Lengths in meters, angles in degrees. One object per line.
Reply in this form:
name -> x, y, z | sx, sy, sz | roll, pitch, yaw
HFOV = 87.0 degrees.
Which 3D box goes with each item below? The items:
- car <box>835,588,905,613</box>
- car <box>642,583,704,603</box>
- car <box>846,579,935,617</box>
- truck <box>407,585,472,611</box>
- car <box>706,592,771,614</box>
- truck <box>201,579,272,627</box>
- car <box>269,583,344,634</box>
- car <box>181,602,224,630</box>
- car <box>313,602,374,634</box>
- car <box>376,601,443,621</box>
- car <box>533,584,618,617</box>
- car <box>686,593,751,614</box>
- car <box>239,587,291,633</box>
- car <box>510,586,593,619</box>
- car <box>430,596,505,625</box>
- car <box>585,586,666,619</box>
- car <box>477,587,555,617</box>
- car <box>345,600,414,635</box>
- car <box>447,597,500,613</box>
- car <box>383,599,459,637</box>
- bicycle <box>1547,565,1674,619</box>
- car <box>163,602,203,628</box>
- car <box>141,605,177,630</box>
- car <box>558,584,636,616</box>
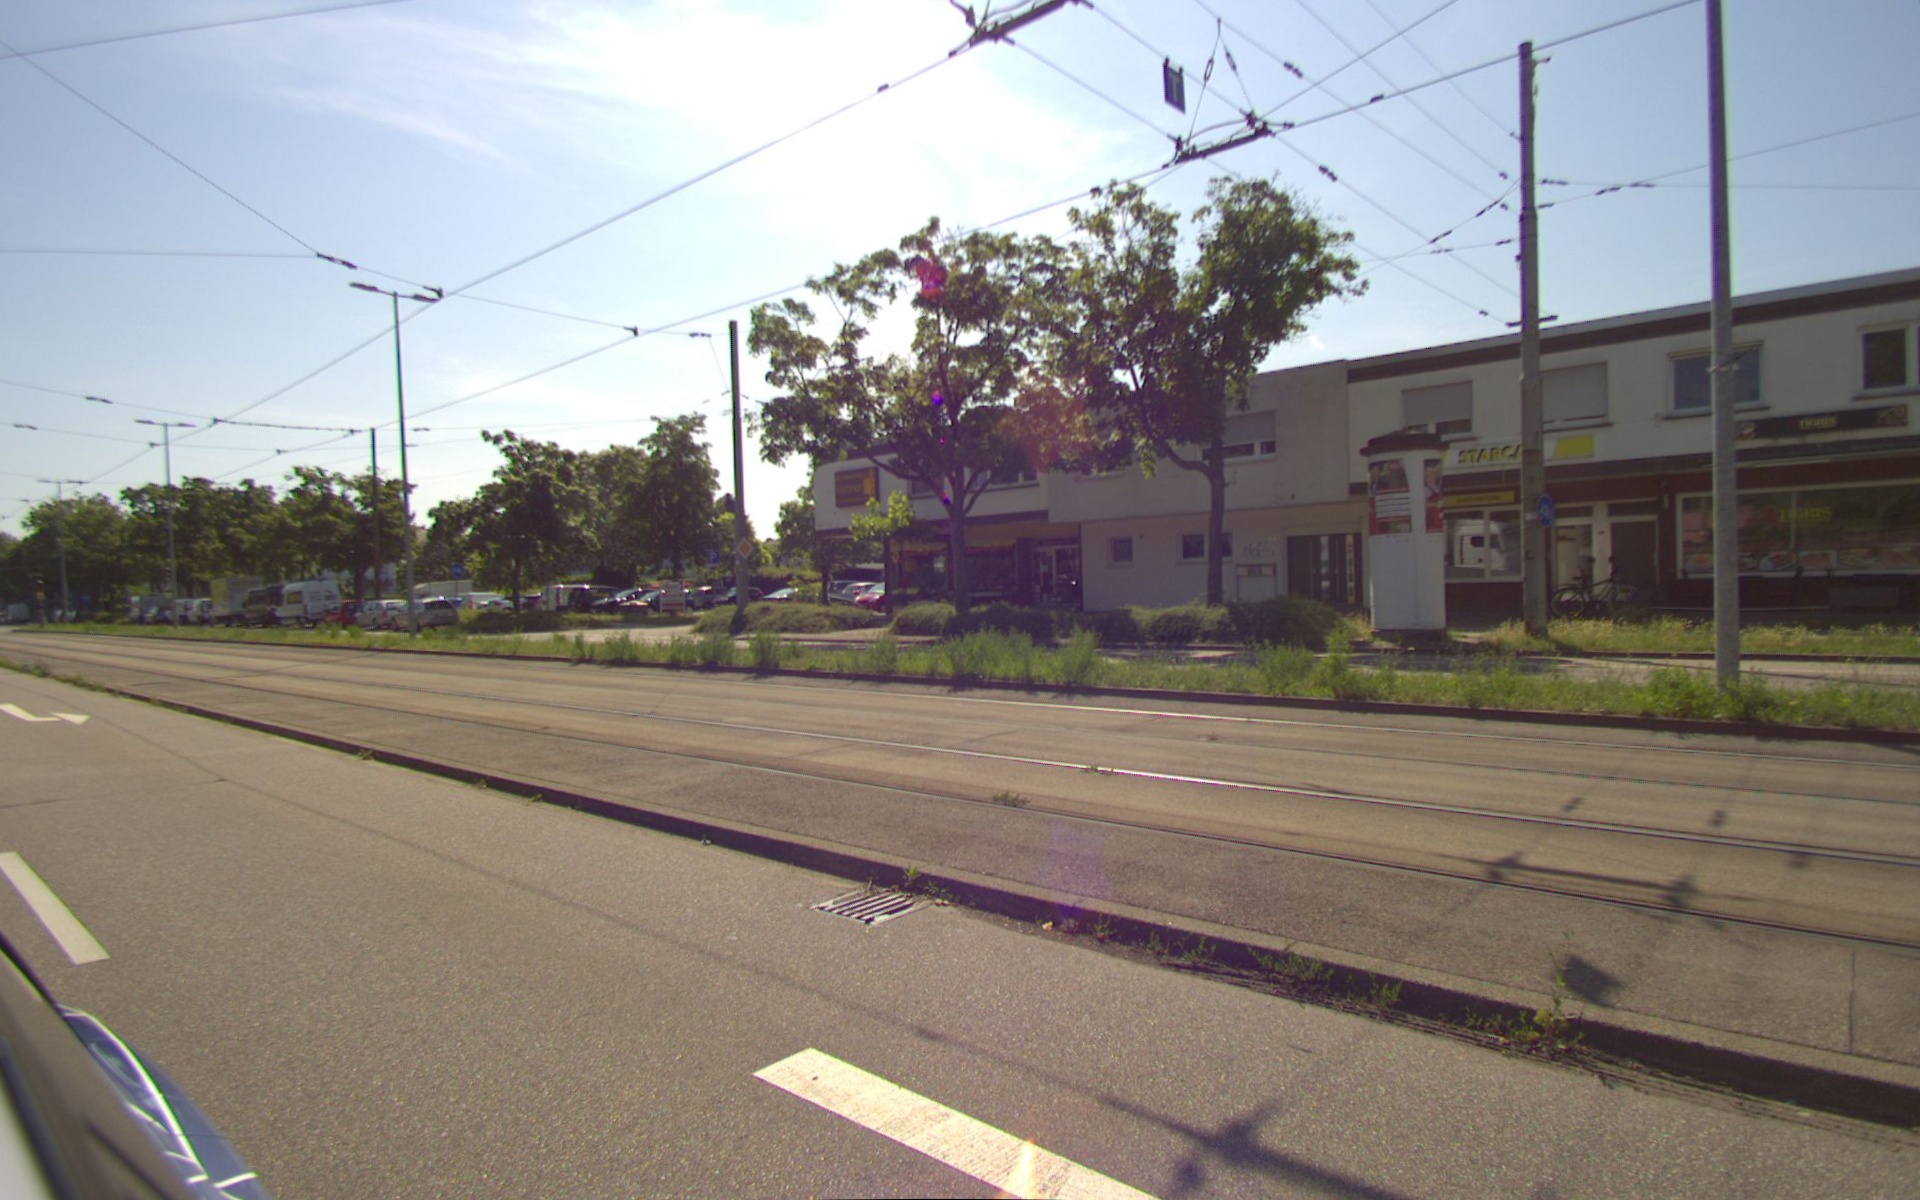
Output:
car -> -5.466, 0.028, 61.730 | 1.676, 1.345, 4.197 | -1, 1, 42
car -> -21.183, -0.534, 74.707 | 1.674, 1.345, 4.201 | -1, 1, 39
car -> -3.246, -0.111, 47.987 | 1.676, 1.616, 4.197 | -1, 1, 42
truck -> -52.945, -0.227, 103.018 | 1.988, 2.398, 5.584 | -1, 1, 38
car -> -15.223, 0.171, 69.660 | 1.676, 1.345, 4.197 | -1, 1, 42
truck -> -48.223, 0.224, 67.433 | 5.902, 2.956, 2.476 | -1, 4, 42
car -> -37.255, 0.483, 57.645 | 5.201, 2.673, 2.036 | -1, 4, 41
car -> -54.760, 1.170, 73.117 | 4.631, 1.817, 1.483 | -1, 4, 41
car -> -33.157, 0.960, 54.362 | 3.791, 1.544, 1.654 | -1, 4, 41
car -> -42.076, 0.827, 77.426 | 1.676, 1.345, 4.198 | -1, 1, 41
car -> -22.066, 0.006, 58.183 | 1.988, 1.751, 4.068 | -1, 1, 38
car -> -17.047, 0.257, 71.503 | 1.676, 1.345, 4.197 | -1, 1, 42
car -> -42.257, 0.611, 61.536 | 4.005, 2.643, 1.483 | -1, 4, 41
car -> -24.042, 0.143, 59.664 | 1.988, 1.751, 4.068 | -1, 1, 38
car -> -33.305, 0.720, 68.413 | 5.739, 1.825, 2.560 | -1, 1, 42
car -> -17.964, 0.133, 54.430 | 1.676, 1.646, 3.761 | -1, 1, 42
car -> -28.031, 0.096, 63.995 | 1.988, 1.751, 4.068 | -1, 1, 38
car -> -29.309, 0.873, 51.024 | 4.255, 1.544, 1.654 | -1, 4, 41
car -> -46.003, 0.447, 95.674 | 1.676, 1.345, 4.198 | -1, 1, 41
car -> -25.245, 0.844, 47.333 | 4.255, 1.544, 1.654 | -1, 4, 41
bicycle -> 14.693, -0.167, 22.901 | 2.333, 1.161, 0.779 | -1, -1, 42
car -> -59.760, 1.188, 77.807 | 4.056, 1.859, 1.484 | -1, 4, 40
car -> -64.416, 1.402, 81.350 | 3.685, 1.799, 1.484 | -1, 4, 40
car -> -20.224, 0.005, 56.452 | 1.676, 1.646, 3.761 | -1, 1, 42
